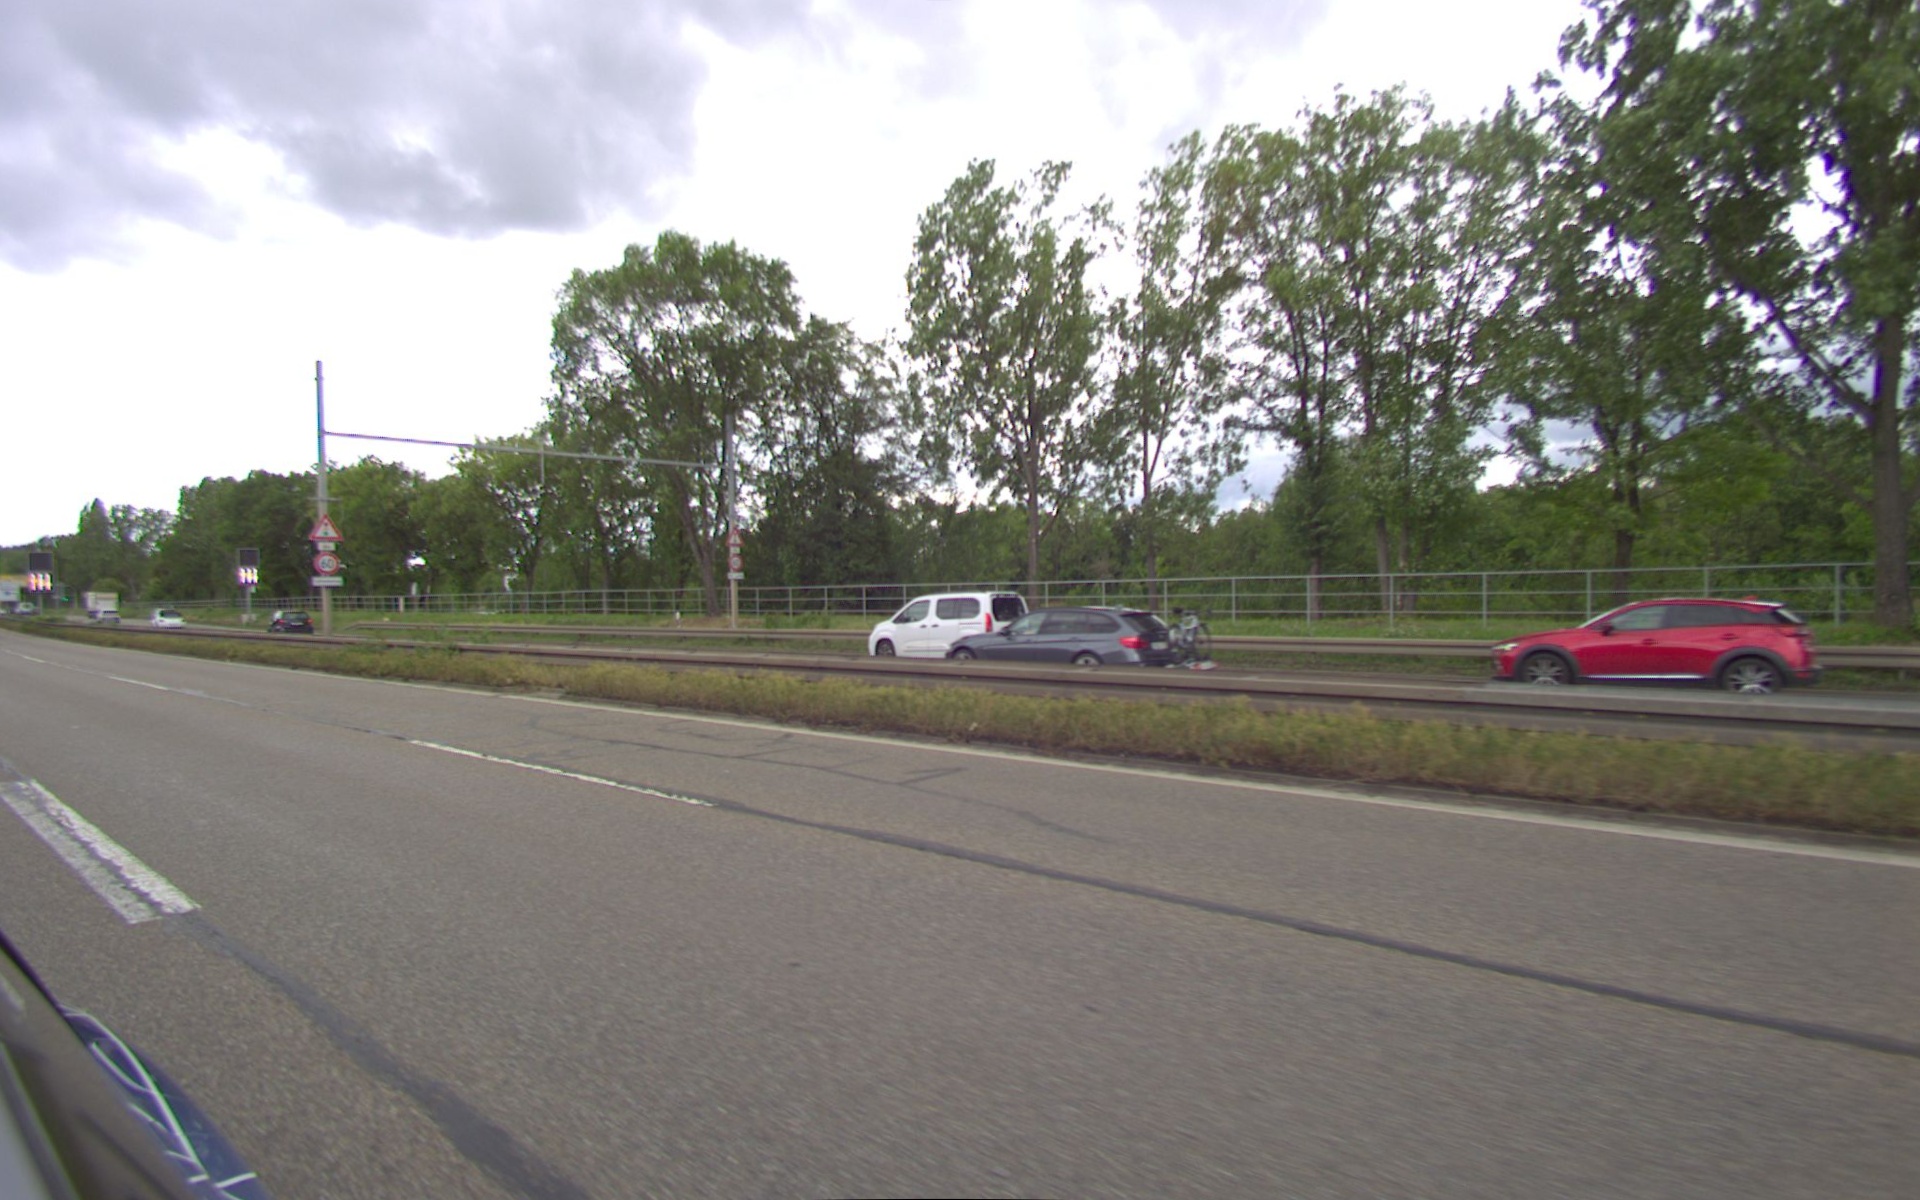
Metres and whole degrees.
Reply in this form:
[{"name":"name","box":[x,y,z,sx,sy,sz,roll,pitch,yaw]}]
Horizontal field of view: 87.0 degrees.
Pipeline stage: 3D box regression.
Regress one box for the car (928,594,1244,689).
[{"name":"car","box":[2.093,0.666,18.175,5.547,1.476,1.842,-1,0,41]}]

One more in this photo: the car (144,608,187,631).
[{"name":"car","box":[-60.395,1.475,76.900,4.718,1.687,1.847,-1,-1,42]}]

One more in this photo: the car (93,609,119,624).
[{"name":"car","box":[-93.783,1.824,111.141,4.538,1.617,1.679,-1,-2,43]}]

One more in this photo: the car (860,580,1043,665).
[{"name":"car","box":[-0.292,0.528,24.765,4.559,1.898,1.594,-1,0,41]}]

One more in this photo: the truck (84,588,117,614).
[{"name":"truck","box":[-121.198,0.179,142.687,2.856,3.606,9.593,-1,0,-45]}]

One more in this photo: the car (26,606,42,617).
[{"name":"car","box":[-160.908,2.028,175.866,1.857,1.738,4.149,-2,1,-45]}]

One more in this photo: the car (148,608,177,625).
[{"name":"car","box":[-81.605,1.697,103.500,4.042,1.617,1.707,-1,-2,43]}]

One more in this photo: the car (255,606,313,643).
[{"name":"car","box":[-35.023,1.250,52.405,3.741,1.788,1.707,-1,0,43]}]

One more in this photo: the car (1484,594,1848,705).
[{"name":"car","box":[10.646,0.676,15.498,4.378,1.476,1.700,-1,0,41]}]

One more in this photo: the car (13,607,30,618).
[{"name":"car","box":[-177.631,2.320,191.541,2.200,1.962,5.477,-1,0,-45]}]
